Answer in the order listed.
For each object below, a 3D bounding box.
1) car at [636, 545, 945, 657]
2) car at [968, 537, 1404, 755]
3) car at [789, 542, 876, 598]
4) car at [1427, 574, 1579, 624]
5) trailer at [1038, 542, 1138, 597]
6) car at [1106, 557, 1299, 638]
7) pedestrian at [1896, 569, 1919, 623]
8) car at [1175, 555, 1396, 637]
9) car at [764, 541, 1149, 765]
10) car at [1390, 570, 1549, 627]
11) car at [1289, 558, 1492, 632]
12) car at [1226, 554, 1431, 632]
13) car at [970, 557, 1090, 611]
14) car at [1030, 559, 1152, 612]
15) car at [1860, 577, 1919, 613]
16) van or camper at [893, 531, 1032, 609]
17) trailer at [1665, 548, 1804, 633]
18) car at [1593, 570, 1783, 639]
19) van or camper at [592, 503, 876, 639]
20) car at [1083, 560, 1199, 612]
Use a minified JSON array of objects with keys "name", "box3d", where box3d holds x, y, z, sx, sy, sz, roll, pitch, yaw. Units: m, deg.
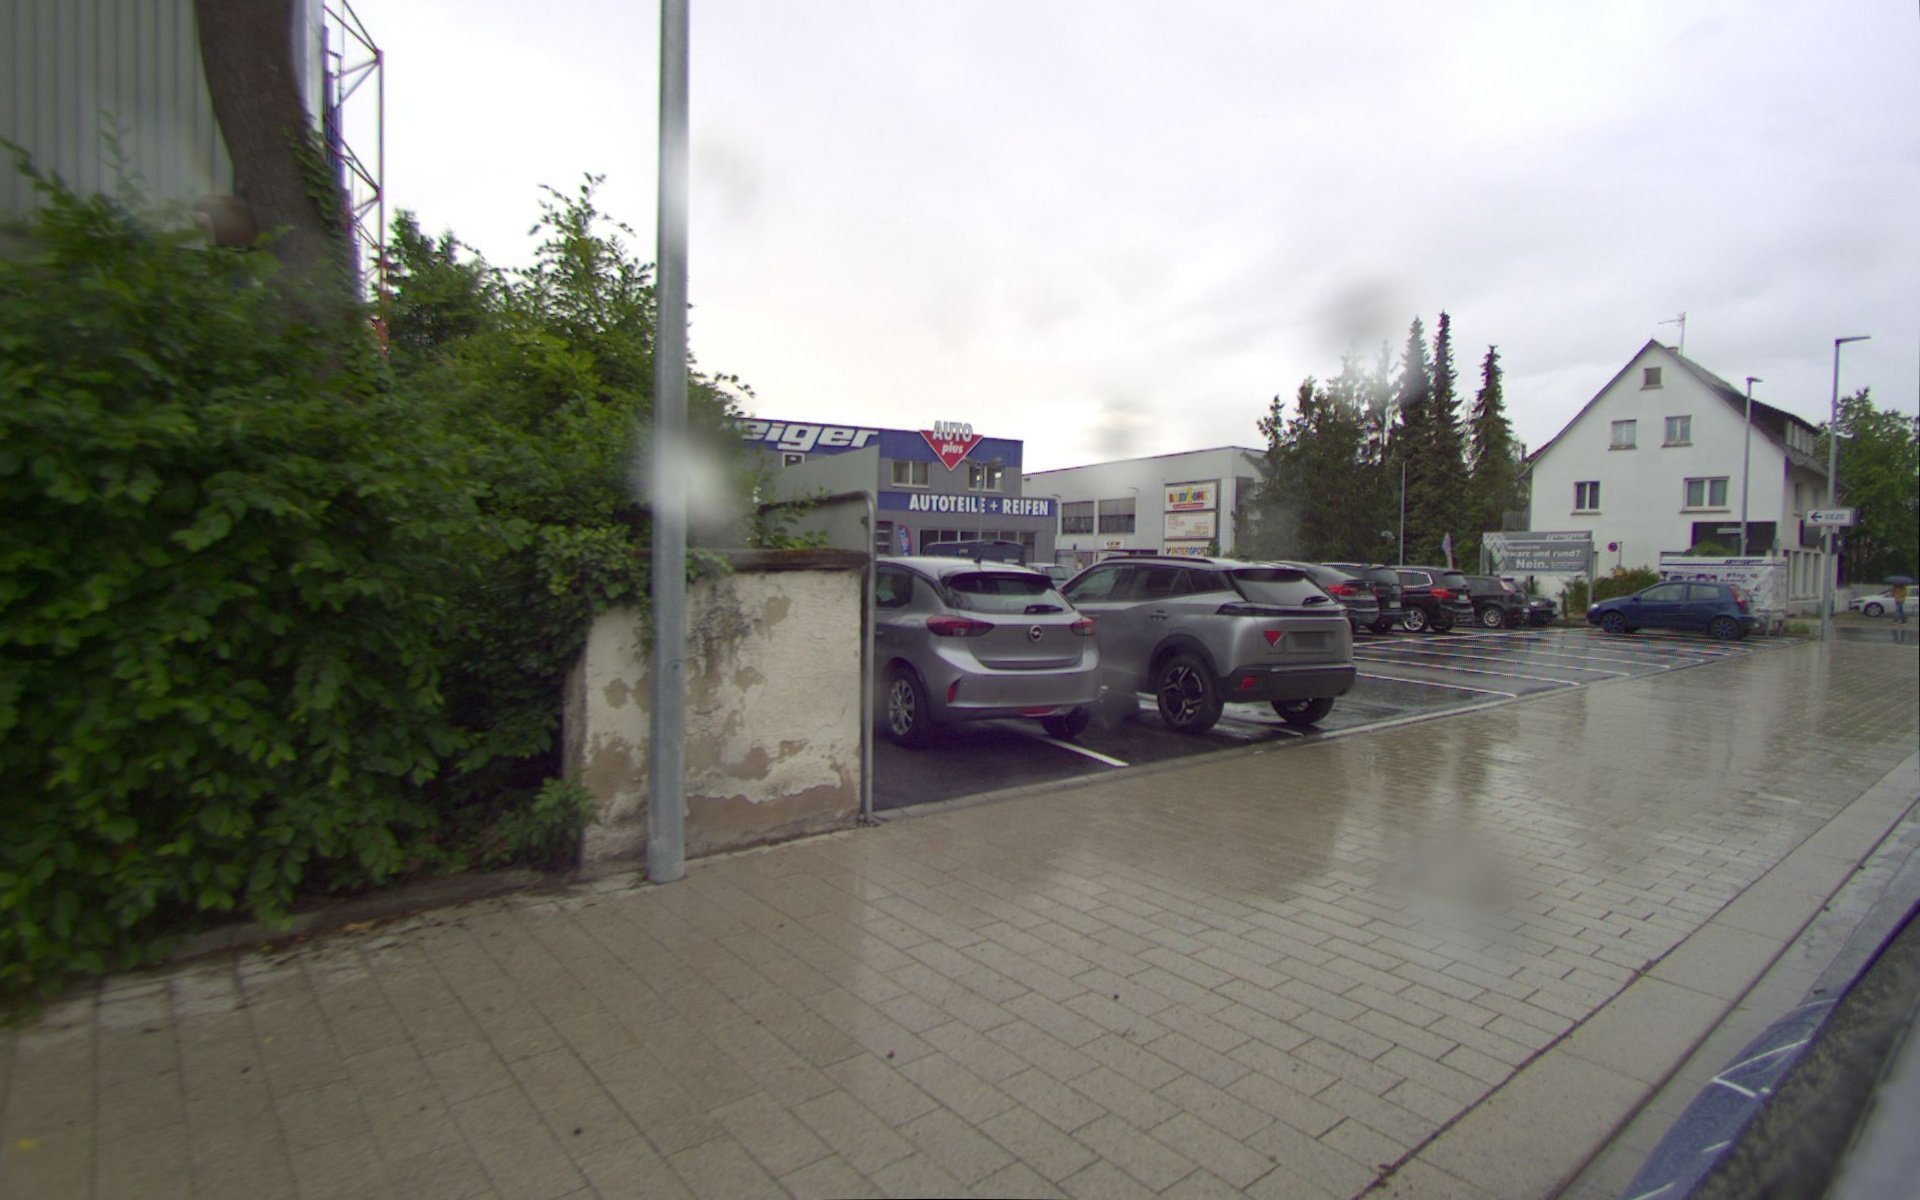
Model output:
[{"name":"car","box3d":[-2.497,-0.026,15.148,4.124,1.460,1.941,0,2,-32]},{"name":"car","box3d":[2.030,0.255,10.389,1.960,1.669,4.228,0,4,-30]},{"name":"car","box3d":[-4.737,-1.058,37.108,1.905,1.839,4.005,-2,0,-26]},{"name":"car","box3d":[16.390,-0.060,30.669,1.665,1.331,3.730,-1,3,-43]},{"name":"trailer","box3d":[7.136,-1.673,57.120,2.875,2.770,5.899,-2,0,-24]},{"name":"car","box3d":[5.005,-0.114,21.219,1.613,1.519,3.695,0,2,-40]},{"name":"pedestrian","box3d":[37.085,-0.150,39.285,1.175,2.037,0.860,0,4,-42]},{"name":"car","box3d":[7.159,-0.162,22.580,1.808,1.578,4.363,0,3,-42]},{"name":"car","box3d":[-0.246,0.278,8.954,1.770,1.512,3.638,0,3,-31]},{"name":"car","box3d":[14.574,-0.088,29.074,1.702,1.467,3.730,0,3,-43]},{"name":"car","box3d":[10.852,-0.184,25.744,1.813,1.672,4.362,0,3,-42]},{"name":"car","box3d":[8.805,-0.237,24.503,1.754,1.679,4.366,0,3,-39]},{"name":"car","box3d":[2.291,-0.593,34.390,1.828,1.602,4.375,0,3,-31]},{"name":"car","box3d":[4.453,-0.527,35.160,1.828,1.602,4.375,0,3,-31]},{"name":"car","box3d":[46.912,-0.193,49.428,4.119,1.599,1.974,5,3,36]},{"name":"van or camper","box3d":[-0.025,-1.052,33.464,2.179,2.354,4.976,0,3,-32]},{"name":"trailer","box3d":[21.246,-0.293,27.804,1.520,2.198,2.709,0,2,-38]},{"name":"car","box3d":[19.076,0.057,26.645,1.621,1.547,3.735,-1,4,-40]},{"name":"van or camper","box3d":[-3.821,-0.468,17.279,4.371,2.062,1.846,0,2,-29]},{"name":"car","box3d":[6.493,-0.543,36.766,1.828,1.687,4.146,0,3,-31]}]
